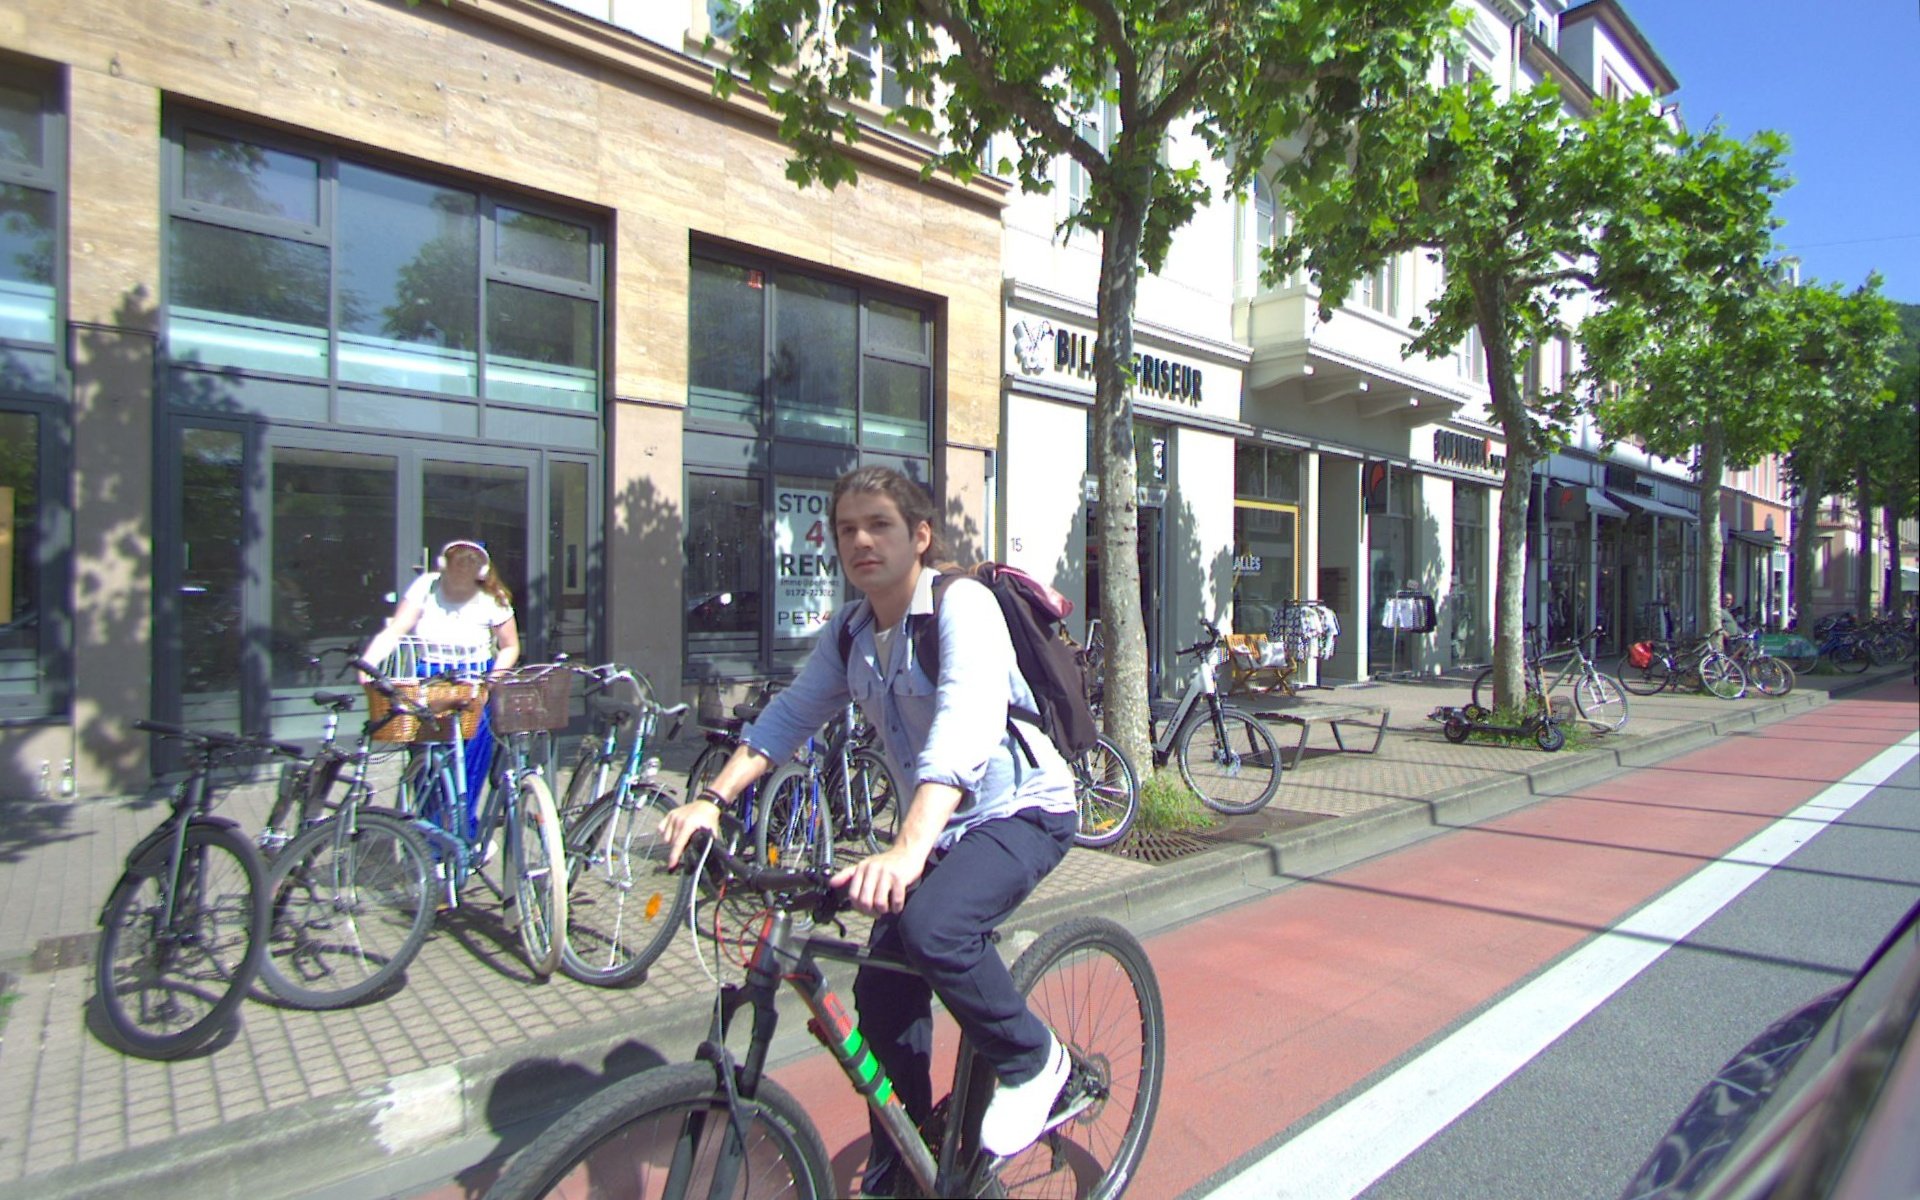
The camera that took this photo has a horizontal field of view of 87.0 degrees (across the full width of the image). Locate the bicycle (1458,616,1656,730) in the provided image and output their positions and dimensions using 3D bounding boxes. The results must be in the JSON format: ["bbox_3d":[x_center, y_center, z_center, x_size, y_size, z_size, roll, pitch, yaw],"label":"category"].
[{"bbox_3d":[6.838,0.792,11.694,0.657,1.201,1.845,0,-1,-35],"label":"bicycle"}]

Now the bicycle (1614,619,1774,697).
[{"bbox_3d":[11.326,0.861,15.680,0.779,1.111,1.846,0,-1,-35],"label":"bicycle"}]

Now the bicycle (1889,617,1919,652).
[{"bbox_3d":[32.196,1.167,33.666,0.632,1.141,1.844,0,1,-38],"label":"bicycle"}]

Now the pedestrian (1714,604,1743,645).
[{"bbox_3d":[25.417,0.804,33.476,0.523,1.350,0.682,1,-1,-43],"label":"pedestrian"}]

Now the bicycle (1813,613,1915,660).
[{"bbox_3d":[22.650,0.914,25.415,1.836,1.141,0.623,-3,-2,39],"label":"bicycle"}]

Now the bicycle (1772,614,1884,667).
[{"bbox_3d":[19.330,0.905,22.564,1.838,1.142,0.490,-3,-4,42],"label":"bicycle"}]

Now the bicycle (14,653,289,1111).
[{"bbox_3d":[-2.777,0.786,3.532,0.595,1.109,1.732,0,0,-38],"label":"bicycle"}]

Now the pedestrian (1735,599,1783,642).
[{"bbox_3d":[28.902,0.726,36.632,0.823,1.502,1.253,0,0,-43],"label":"pedestrian"}]

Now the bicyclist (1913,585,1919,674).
[{"bbox_3d":[18.640,0.566,19.113,0.759,1.694,0.734,0,1,-31],"label":"bicyclist"}]

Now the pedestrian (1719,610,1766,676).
[{"bbox_3d":[15.483,0.839,20.021,0.587,1.248,0.639,-1,0,-43],"label":"pedestrian"}]

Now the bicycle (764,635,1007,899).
[{"bbox_3d":[-0.461,0.775,5.346,0.395,1.123,1.732,1,0,-38],"label":"bicycle"}]

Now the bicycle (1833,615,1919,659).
[{"bbox_3d":[24.356,0.963,26.764,0.554,1.107,1.843,0,-1,-40],"label":"bicycle"}]

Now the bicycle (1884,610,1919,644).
[{"bbox_3d":[33.181,0.942,34.905,0.654,1.141,1.844,0,1,-38],"label":"bicycle"}]

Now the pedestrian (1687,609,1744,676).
[{"bbox_3d":[14.751,0.810,19.759,0.566,1.259,0.788,-1,0,-43],"label":"pedestrian"}]

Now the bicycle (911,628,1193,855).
[{"bbox_3d":[0.493,0.757,6.144,0.723,1.123,1.732,0,0,-38],"label":"bicycle"}]

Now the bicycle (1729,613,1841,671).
[{"bbox_3d":[17.791,0.883,21.856,1.760,1.212,0.573,0,-1,23],"label":"bicycle"}]

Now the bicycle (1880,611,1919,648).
[{"bbox_3d":[30.822,0.965,32.466,0.654,1.141,1.844,0,1,-38],"label":"bicycle"}]

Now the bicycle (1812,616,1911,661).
[{"bbox_3d":[22.955,0.977,25.814,1.837,1.107,0.556,-1,-1,40],"label":"bicycle"}]

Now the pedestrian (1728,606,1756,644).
[{"bbox_3d":[26.727,0.847,34.572,0.598,1.268,0.640,-1,2,-43],"label":"pedestrian"}]

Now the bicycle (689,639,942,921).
[{"bbox_3d":[-0.794,0.791,5.101,0.469,1.123,1.732,1,0,-38],"label":"bicycle"}]

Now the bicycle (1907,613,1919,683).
[{"bbox_3d":[18.711,0.906,19.019,2.236,1.285,0.735,2,-2,-31],"label":"bicycle"}]

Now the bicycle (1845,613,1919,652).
[{"bbox_3d":[27.757,0.966,30.269,0.519,1.141,1.848,-1,-1,-28],"label":"bicycle"}]

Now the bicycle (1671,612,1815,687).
[{"bbox_3d":[13.397,0.812,17.371,0.660,1.212,1.846,0,-1,-33],"label":"bicycle"}]

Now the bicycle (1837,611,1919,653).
[{"bbox_3d":[27.101,0.926,29.828,0.440,1.141,1.845,-1,1,-37],"label":"bicycle"}]

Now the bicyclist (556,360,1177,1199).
[{"bbox_3d":[-0.160,0.416,1.930,0.945,1.464,0.699,0,-2,-44],"label":"bicyclist"}]

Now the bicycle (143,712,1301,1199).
[{"bbox_3d":[-0.185,0.881,1.894,2.047,1.141,0.698,0,-2,-44],"label":"bicycle"}]

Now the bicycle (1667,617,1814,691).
[{"bbox_3d":[12.715,0.853,16.554,0.487,1.141,1.847,0,-1,-29],"label":"bicycle"}]

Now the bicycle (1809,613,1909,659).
[{"bbox_3d":[23.414,0.934,26.402,1.835,1.141,0.755,-2,-1,37],"label":"bicycle"}]

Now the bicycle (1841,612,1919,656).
[{"bbox_3d":[25.342,0.923,27.659,1.818,1.141,0.591,0,1,14],"label":"bicycle"}]

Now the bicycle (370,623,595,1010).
[{"bbox_3d":[-2.022,0.728,4.156,0.469,1.232,1.732,1,0,-38],"label":"bicycle"}]

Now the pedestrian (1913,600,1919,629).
[{"bbox_3d":[60.069,0.893,63.133,0.754,1.813,0.840,0,1,-40],"label":"pedestrian"}]

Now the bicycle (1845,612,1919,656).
[{"bbox_3d":[26.028,0.935,28.416,0.439,1.141,1.850,0,1,-13],"label":"bicycle"}]

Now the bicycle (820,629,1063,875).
[{"bbox_3d":[-0.170,0.747,5.632,0.395,1.123,1.732,1,0,-38],"label":"bicycle"}]

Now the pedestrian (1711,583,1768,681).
[{"bbox_3d":[13.913,0.567,18.064,0.829,1.711,0.639,2,-3,-43],"label":"pedestrian"}]

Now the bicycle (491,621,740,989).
[{"bbox_3d":[-1.539,0.724,4.330,0.469,1.232,1.732,1,0,-38],"label":"bicycle"}]

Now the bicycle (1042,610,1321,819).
[{"bbox_3d":[1.504,0.713,7.205,0.722,1.264,1.936,0,0,-38],"label":"bicycle"}]

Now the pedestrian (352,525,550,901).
[{"bbox_3d":[-2.451,0.489,4.875,0.731,1.633,0.616,1,-1,-40],"label":"pedestrian"}]

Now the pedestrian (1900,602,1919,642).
[{"bbox_3d":[40.811,0.947,43.270,0.773,1.679,0.642,3,-2,-26],"label":"pedestrian"}]

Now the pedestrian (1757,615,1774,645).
[{"bbox_3d":[27.049,1.005,34.003,0.429,0.980,0.365,1,-1,-39],"label":"pedestrian"}]

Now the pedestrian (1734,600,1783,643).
[{"bbox_3d":[28.366,0.747,35.953,0.776,1.440,1.234,-1,1,-43],"label":"pedestrian"}]

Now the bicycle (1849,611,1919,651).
[{"bbox_3d":[28.867,0.948,31.386,0.666,1.141,1.846,-1,1,-34],"label":"bicycle"}]

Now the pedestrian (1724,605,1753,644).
[{"bbox_3d":[26.294,0.825,34.175,0.523,1.269,0.682,1,1,-43],"label":"pedestrian"}]

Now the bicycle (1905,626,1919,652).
[{"bbox_3d":[35.481,1.329,36.561,1.018,0.395,1.854,-44,18,-33],"label":"bicycle"}]

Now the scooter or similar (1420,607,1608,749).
[{"bbox_3d":[5.439,0.724,10.019,0.656,1.291,1.481,0,-1,-29],"label":"scooter or similar"}]

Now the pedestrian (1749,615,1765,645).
[{"bbox_3d":[26.491,0.989,33.650,0.429,0.980,0.342,1,-1,-39],"label":"pedestrian"}]

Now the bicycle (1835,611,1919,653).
[{"bbox_3d":[26.773,0.926,29.517,0.440,1.141,1.845,-1,1,-37],"label":"bicycle"}]

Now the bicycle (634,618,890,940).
[{"bbox_3d":[-1.007,0.715,4.805,0.469,1.232,1.732,1,0,-38],"label":"bicycle"}]

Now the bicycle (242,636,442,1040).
[{"bbox_3d":[-2.452,0.756,3.927,0.469,1.176,1.732,1,0,-38],"label":"bicycle"}]
